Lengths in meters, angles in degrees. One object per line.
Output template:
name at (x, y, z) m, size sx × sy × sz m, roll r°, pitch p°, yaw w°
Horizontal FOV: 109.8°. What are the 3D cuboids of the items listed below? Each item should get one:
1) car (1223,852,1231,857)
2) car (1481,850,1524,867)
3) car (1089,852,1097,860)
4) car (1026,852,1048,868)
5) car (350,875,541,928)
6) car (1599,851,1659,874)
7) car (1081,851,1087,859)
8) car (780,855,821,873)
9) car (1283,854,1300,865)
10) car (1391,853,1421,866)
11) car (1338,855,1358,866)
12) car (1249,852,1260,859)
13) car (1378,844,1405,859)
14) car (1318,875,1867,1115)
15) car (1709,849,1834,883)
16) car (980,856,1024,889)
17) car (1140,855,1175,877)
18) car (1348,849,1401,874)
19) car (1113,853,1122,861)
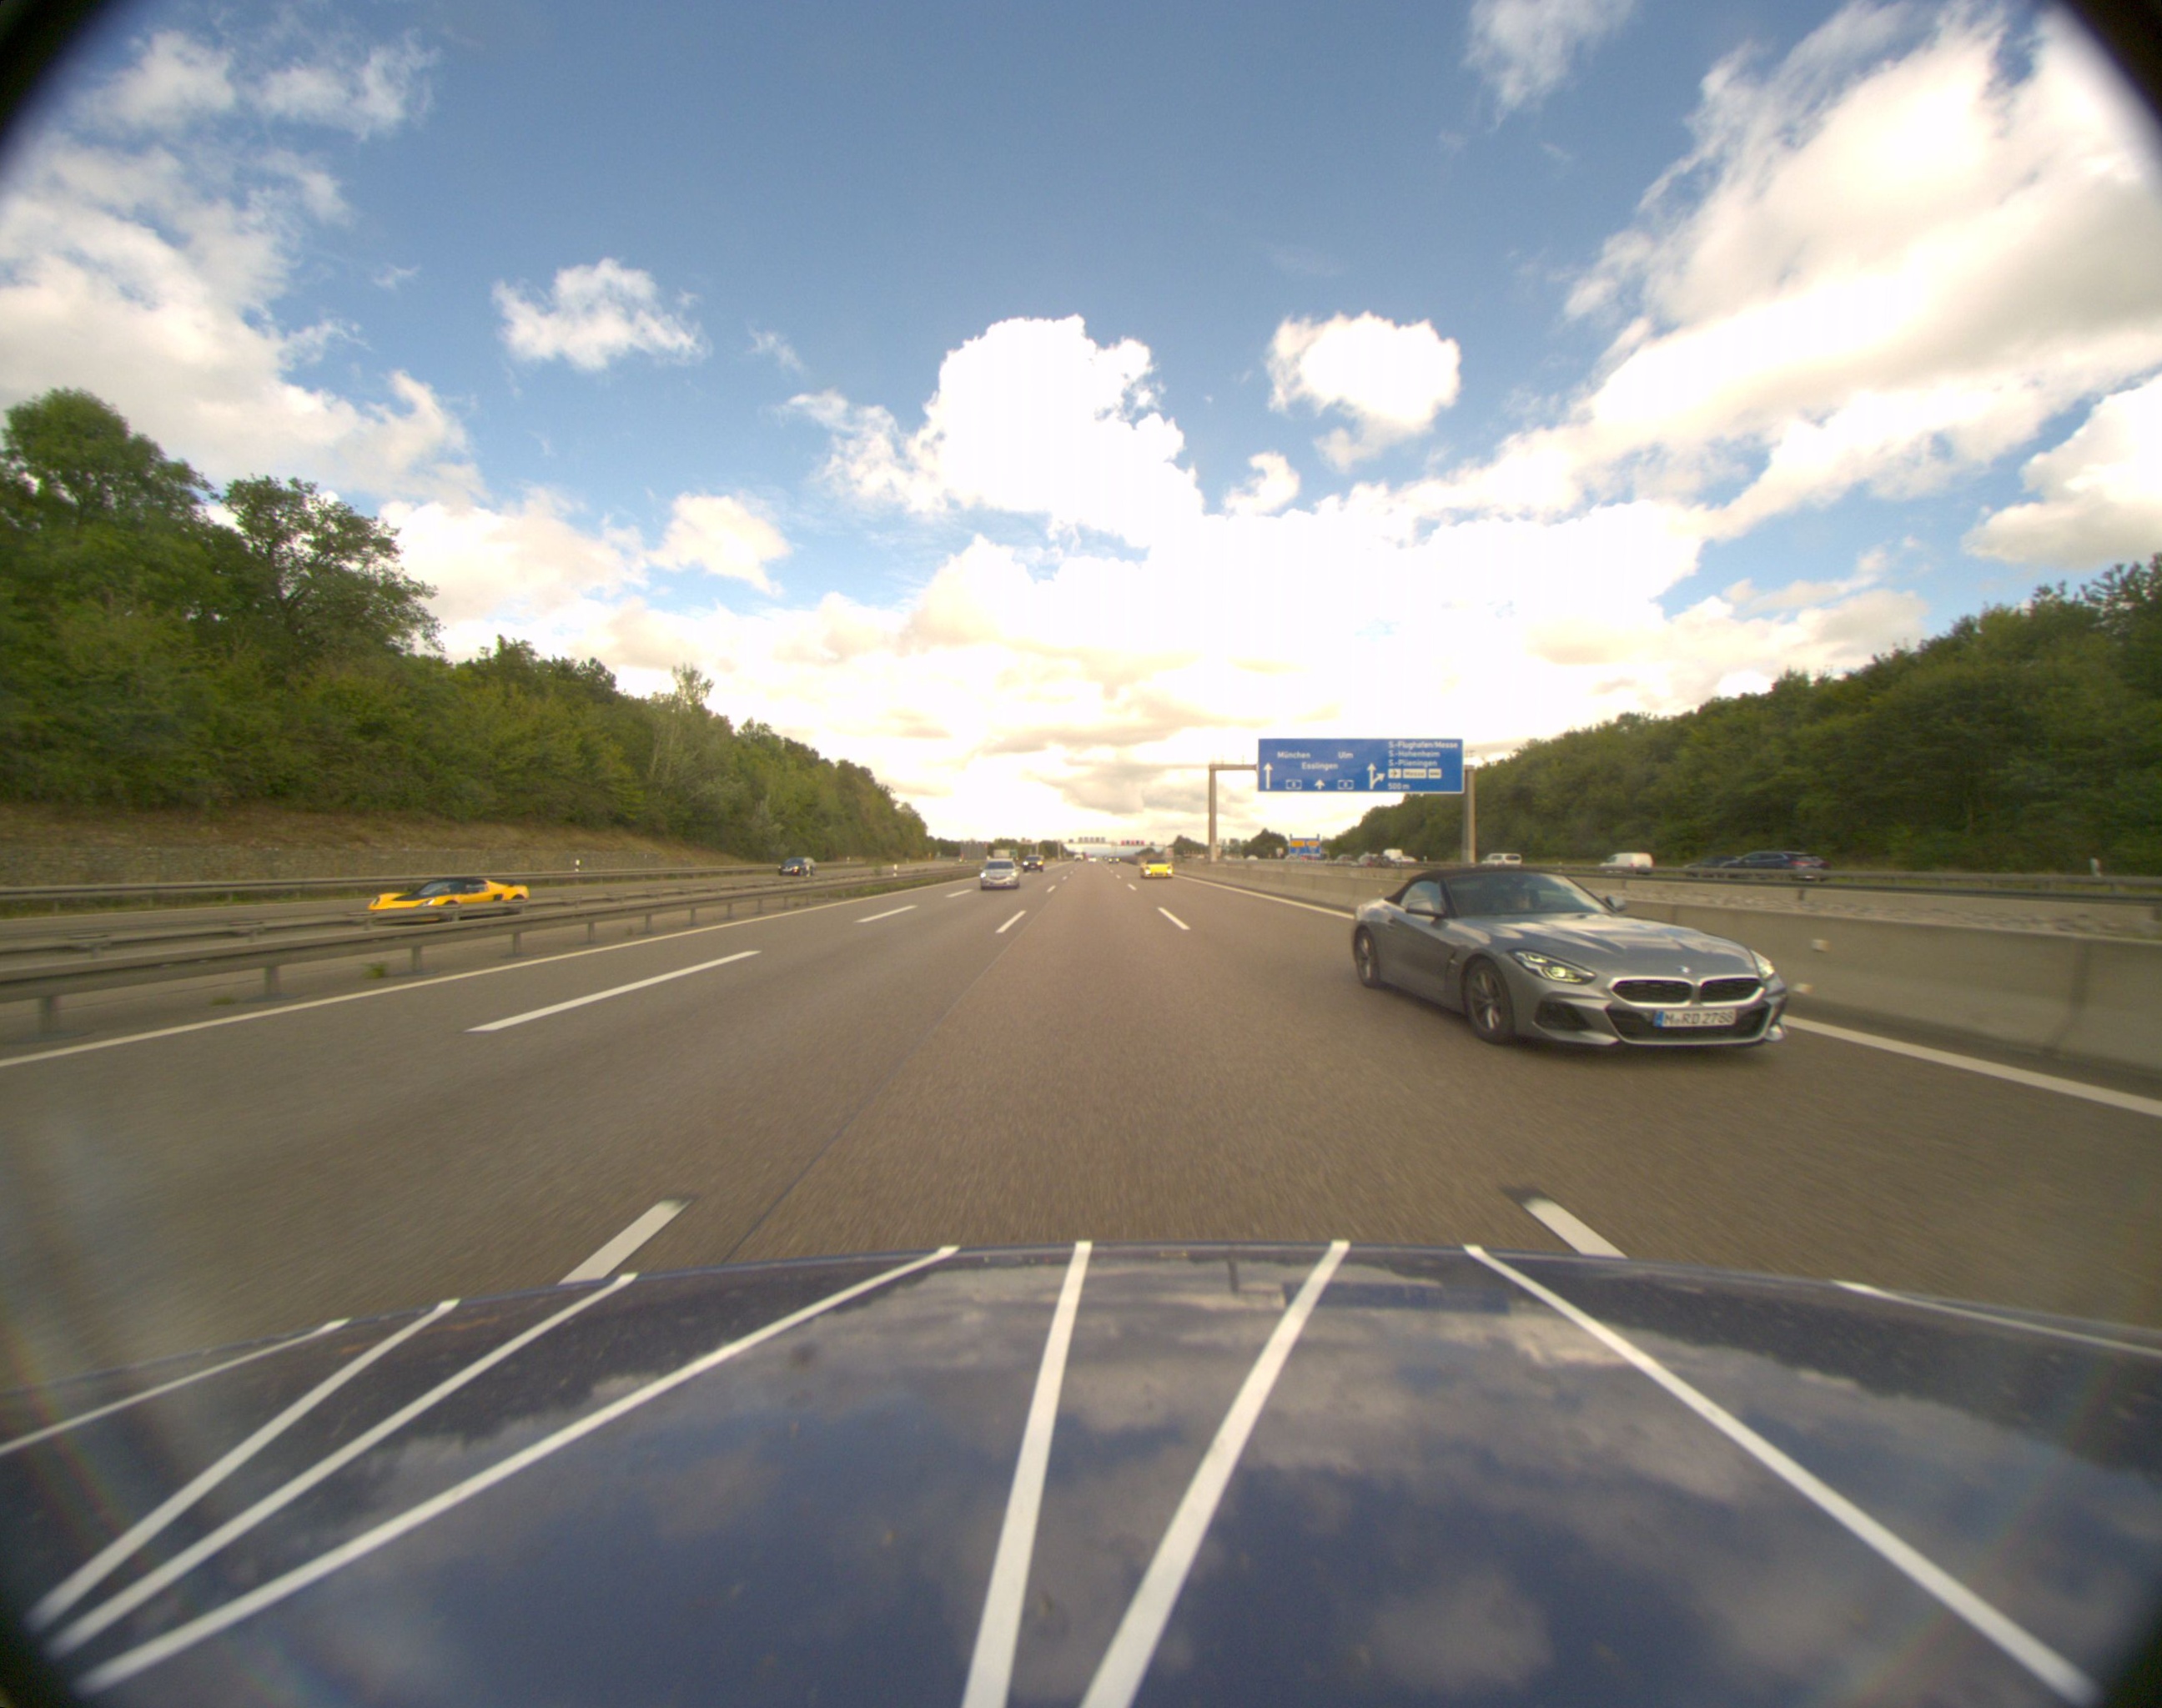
car at (40.475, 0.143, 210.650) m, size 1.647 × 1.307 × 4.247 m, roll 0°, pitch 0°, yaw 0°
car at (43.448, 0.430, 78.466) m, size 1.739 × 1.624 × 4.947 m, roll 0°, pitch 0°, yaw 0°
car at (2.494, 0.398, 158.833) m, size 1.736 × 1.608 × 4.000 m, roll -1°, pitch 0°, yaw 1°
car at (-4.545, 0.617, 79.043) m, size 1.876 × 1.626 × 4.859 m, roll -1°, pitch 0°, yaw 1°
car at (-17.296, 1.245, 20.998) m, size 1.716 × 1.175 × 4.168 m, roll -1°, pitch 0°, yaw 0°
car at (42.712, 0.622, 59.312) m, size 1.596 × 1.747 × 4.282 m, roll 0°, pitch 0°, yaw 0°
car at (0.851, 0.387, 239.524) m, size 1.854 × 2.565 × 5.412 m, roll 0°, pitch 0°, yaw 1°
car at (-22.643, 0.770, 61.481) m, size 1.716 × 1.407 × 4.169 m, roll 0°, pitch 0°, yaw 1°
car at (39.804, 1.026, 143.552) m, size 1.998 × 2.002 × 4.344 m, roll -2°, pitch 0°, yaw 1°
car at (39.015, 0.625, 91.304) m, size 1.662 × 1.435 × 4.323 m, roll 0°, pitch 0°, yaw 0°
car at (39.907, 0.941, 113.754) m, size 1.662 × 1.637 × 4.000 m, roll 0°, pitch 0°, yaw 0°
car at (37.333, 0.288, 163.514) m, size 1.680 × 1.508 × 4.369 m, roll 0°, pitch 0°, yaw 2°
car at (47.222, -0.392, 115.747) m, size 1.998 × 2.302 × 5.685 m, roll 0°, pitch 0°, yaw 3°
car at (3.928, 0.939, 7.154) m, size 1.878 × 1.295 × 4.942 m, roll -1°, pitch 0°, yaw 1°
car at (34.478, 0.565, 38.165) m, size 1.998 × 1.583 × 4.767 m, roll 0°, pitch 0°, yaw 2°
car at (-3.849, 0.882, 37.714) m, size 1.687 × 1.476 × 4.615 m, roll -1°, pitch 0°, yaw 0°
car at (4.826, 0.737, 48.453) m, size 1.811 × 1.307 × 4.247 m, roll 1°, pitch 0°, yaw 0°
car at (21.549, 0.538, 56.036) m, size 1.839 × 1.775 × 5.503 m, roll 0°, pitch 0°, yaw 0°
car at (6.790, 0.580, 140.833) m, size 1.593 × 1.307 × 3.978 m, roll 1°, pitch 0°, yaw 0°
